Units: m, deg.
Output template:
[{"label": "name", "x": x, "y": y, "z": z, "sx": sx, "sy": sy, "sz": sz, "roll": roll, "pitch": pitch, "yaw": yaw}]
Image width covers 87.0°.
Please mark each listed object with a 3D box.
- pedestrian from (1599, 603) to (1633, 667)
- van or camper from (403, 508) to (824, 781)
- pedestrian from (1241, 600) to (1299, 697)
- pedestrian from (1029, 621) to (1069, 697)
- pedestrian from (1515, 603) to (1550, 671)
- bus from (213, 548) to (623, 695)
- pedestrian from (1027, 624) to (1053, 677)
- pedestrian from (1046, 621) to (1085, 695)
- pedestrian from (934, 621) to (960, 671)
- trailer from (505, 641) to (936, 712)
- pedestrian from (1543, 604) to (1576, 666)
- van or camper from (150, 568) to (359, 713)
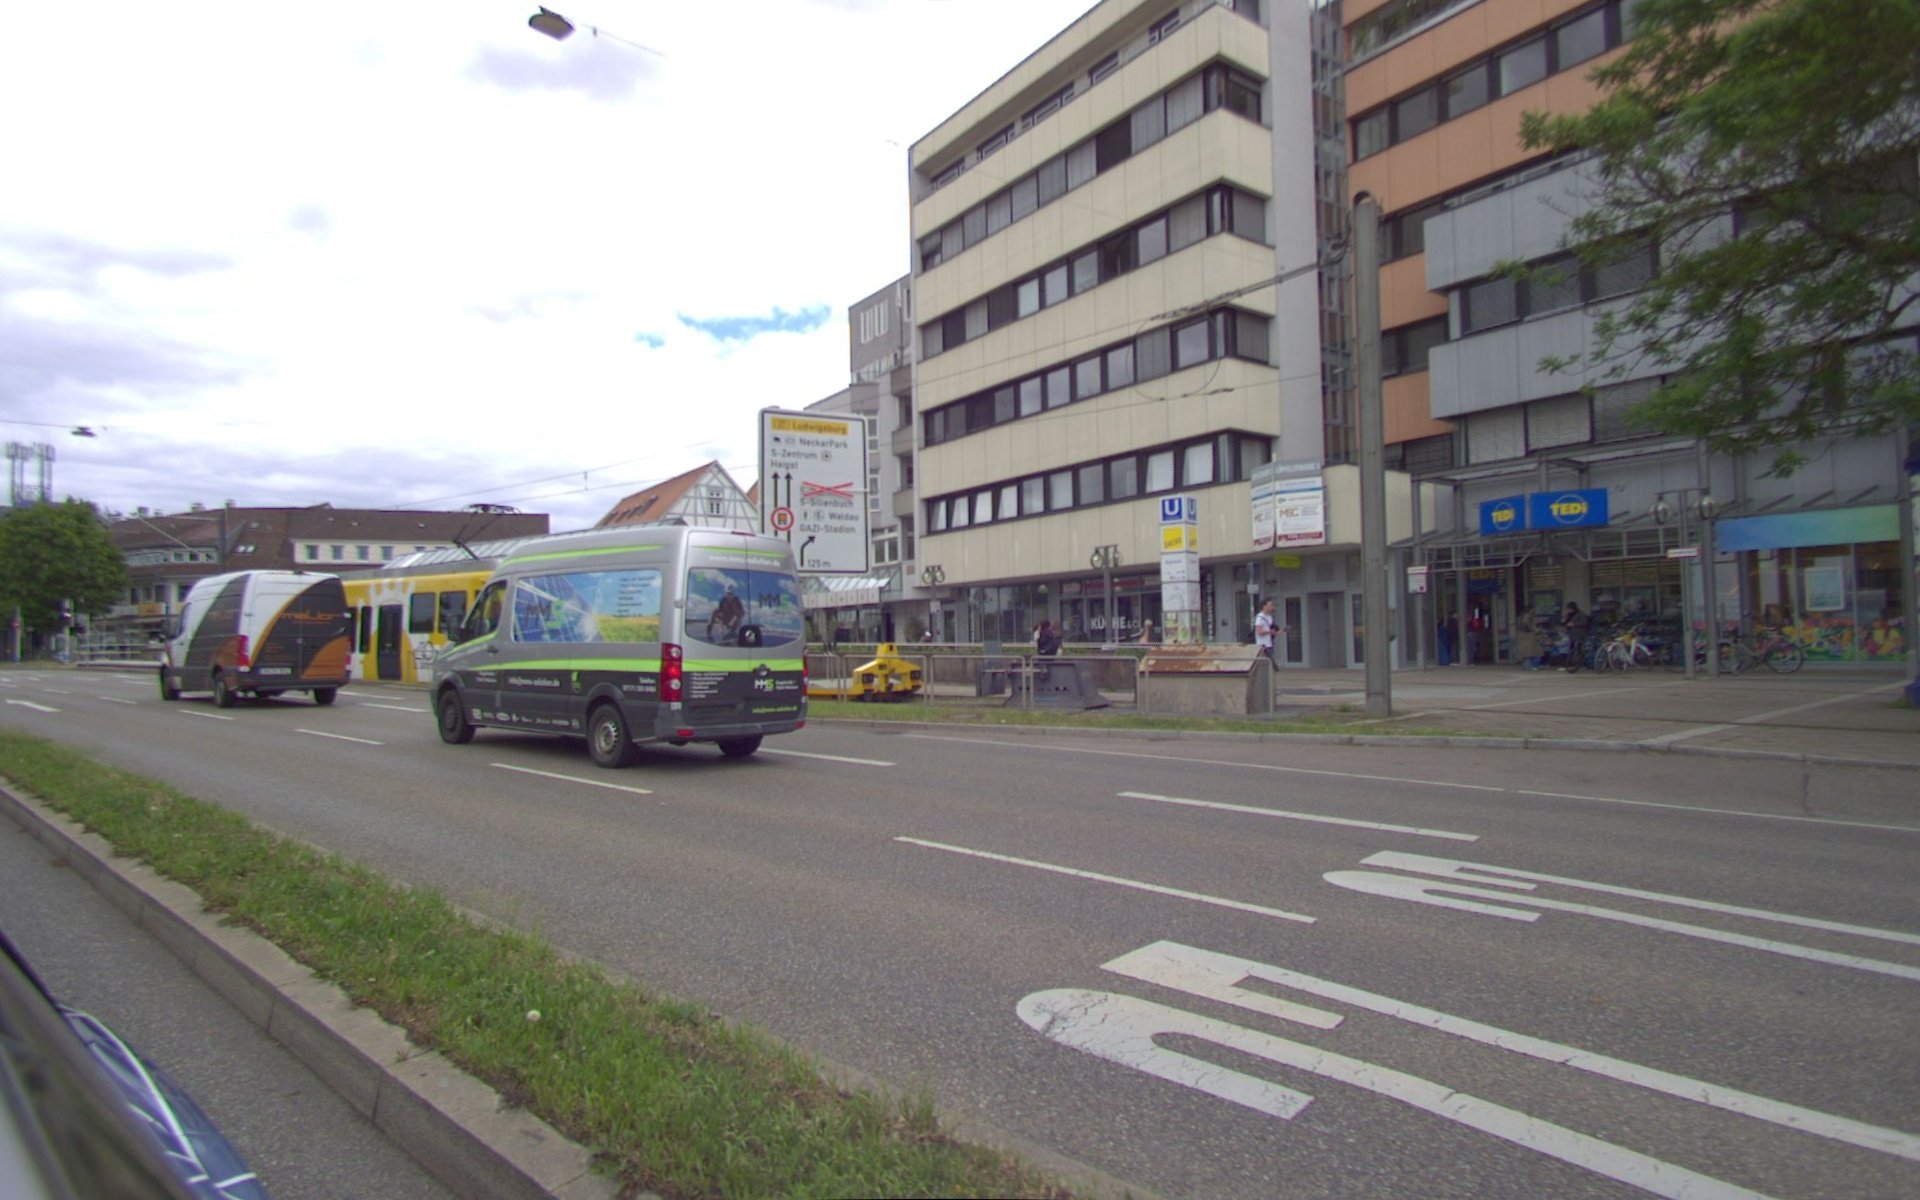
[{"label": "pedestrian", "x": 18.328, "y": 0.968, "z": 28.288, "sx": 0.706, "sy": 1.729, "sz": 0.697, "roll": -2, "pitch": 0, "yaw": 38}, {"label": "van or camper", "x": -4.509, "y": 0.549, "z": 12.495, "sx": 6.111, "sy": 2.618, "sz": 2.011, "roll": -2, "pitch": -4, "yaw": 40}, {"label": "pedestrian", "x": 6.207, "y": 0.965, "z": 20.241, "sx": 0.873, "sy": 1.891, "sz": 0.737, "roll": -2, "pitch": -3, "yaw": 39}, {"label": "pedestrian", "x": 1.906, "y": 1.245, "z": 21.567, "sx": 0.619, "sy": 1.585, "sz": 0.593, "roll": -2, "pitch": -3, "yaw": 36}, {"label": "pedestrian", "x": 14.754, "y": 0.939, "z": 26.090, "sx": 0.634, "sy": 1.710, "sz": 0.697, "roll": -2, "pitch": 0, "yaw": 38}, {"label": "bus", "x": -18.909, "y": 0.864, "z": 33.839, "sx": 19.296, "sy": 3.889, "sz": 3.843, "roll": -2, "pitch": -3, "yaw": 35}, {"label": "pedestrian", "x": 2.599, "y": 1.626, "z": 32.771, "sx": 0.628, "sy": 1.713, "sz": 0.544, "roll": -2, "pitch": -3, "yaw": 37}, {"label": "pedestrian", "x": 2.310, "y": 1.251, "z": 22.124, "sx": 0.619, "sy": 1.585, "sz": 0.593, "roll": -2, "pitch": -3, "yaw": 36}, {"label": "pedestrian", "x": -0.458, "y": 1.598, "z": 35.087, "sx": 0.628, "sy": 1.713, "sz": 0.684, "roll": -2, "pitch": -3, "yaw": 37}, {"label": "trailer", "x": -6.249, "y": 1.695, "z": 24.315, "sx": 12.098, "sy": 1.343, "sz": 2.816, "roll": -2, "pitch": -2, "yaw": 35}, {"label": "pedestrian", "x": 17.310, "y": 1.005, "z": 29.221, "sx": 0.706, "sy": 1.729, "sz": 0.697, "roll": -2, "pitch": 0, "yaw": 38}, {"label": "van or camper", "x": -14.830, "y": 0.860, "z": 21.093, "sx": 6.111, "sy": 2.618, "sz": 1.973, "roll": -2, "pitch": -4, "yaw": 40}]
